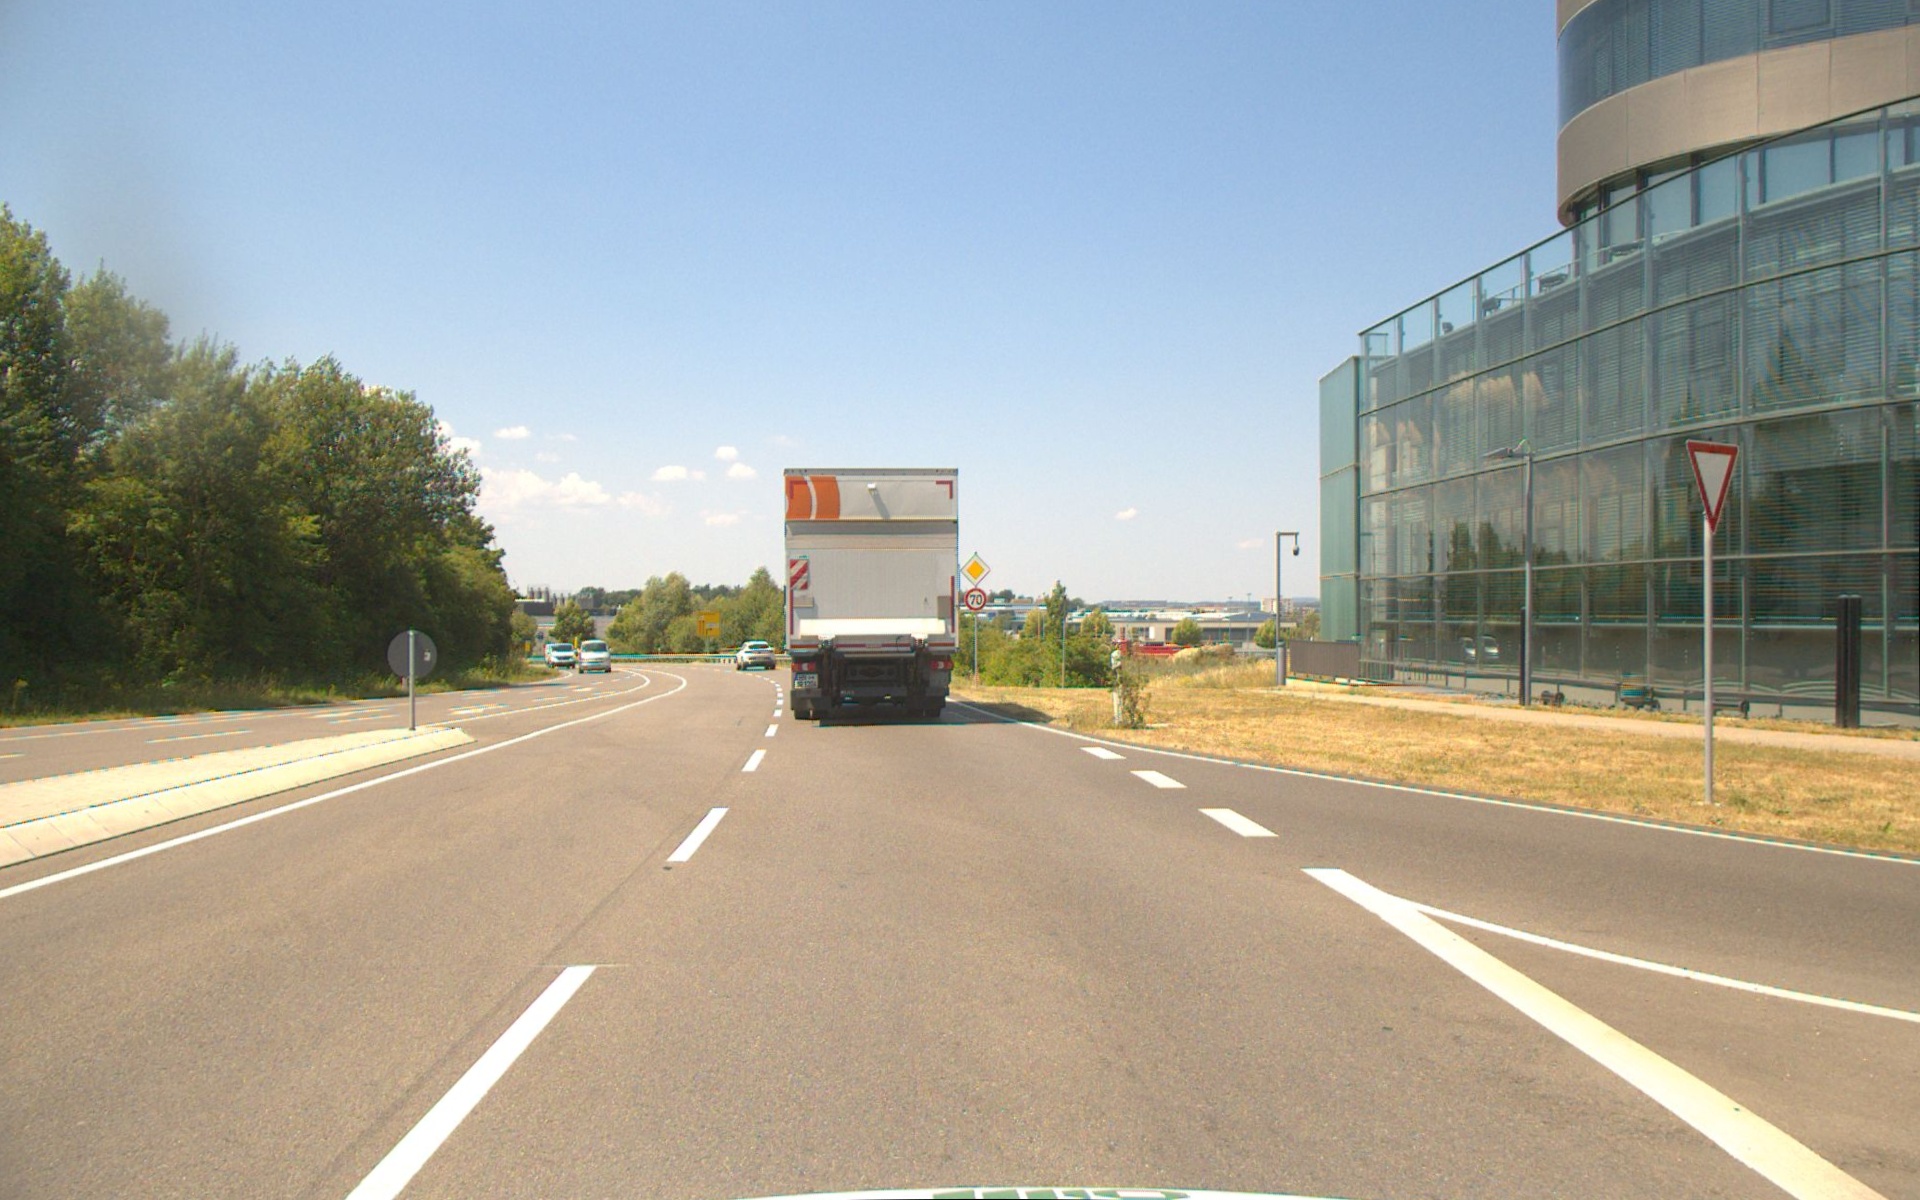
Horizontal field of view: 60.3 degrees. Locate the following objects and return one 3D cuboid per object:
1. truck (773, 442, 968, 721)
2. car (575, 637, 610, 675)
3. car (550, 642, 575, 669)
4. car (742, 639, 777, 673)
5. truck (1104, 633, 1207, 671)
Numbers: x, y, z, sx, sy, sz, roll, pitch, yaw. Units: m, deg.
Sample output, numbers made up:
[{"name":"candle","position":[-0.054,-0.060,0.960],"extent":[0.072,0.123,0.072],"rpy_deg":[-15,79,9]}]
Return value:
[{"name":"truck","position":[-1.646,-0.099,28.109],"extent":[2.715,3.928,9.359],"rpy_deg":[-1,-2,-5]},{"name":"car","position":[-22.004,3.342,99.035],"extent":[1.773,2.005,3.984],"rpy_deg":[2,0,-16]},{"name":"car","position":[-30.996,4.308,128.915],"extent":[1.773,1.872,3.984],"rpy_deg":[2,0,-16]},{"name":"car","position":[-10.891,3.032,89.868],"extent":[1.768,1.584,3.995],"rpy_deg":[2,0,-6]},{"name":"truck","position":[19.909,5.292,168.698],"extent":[10.154,3.275,2.456],"rpy_deg":[2,0,23]}]
